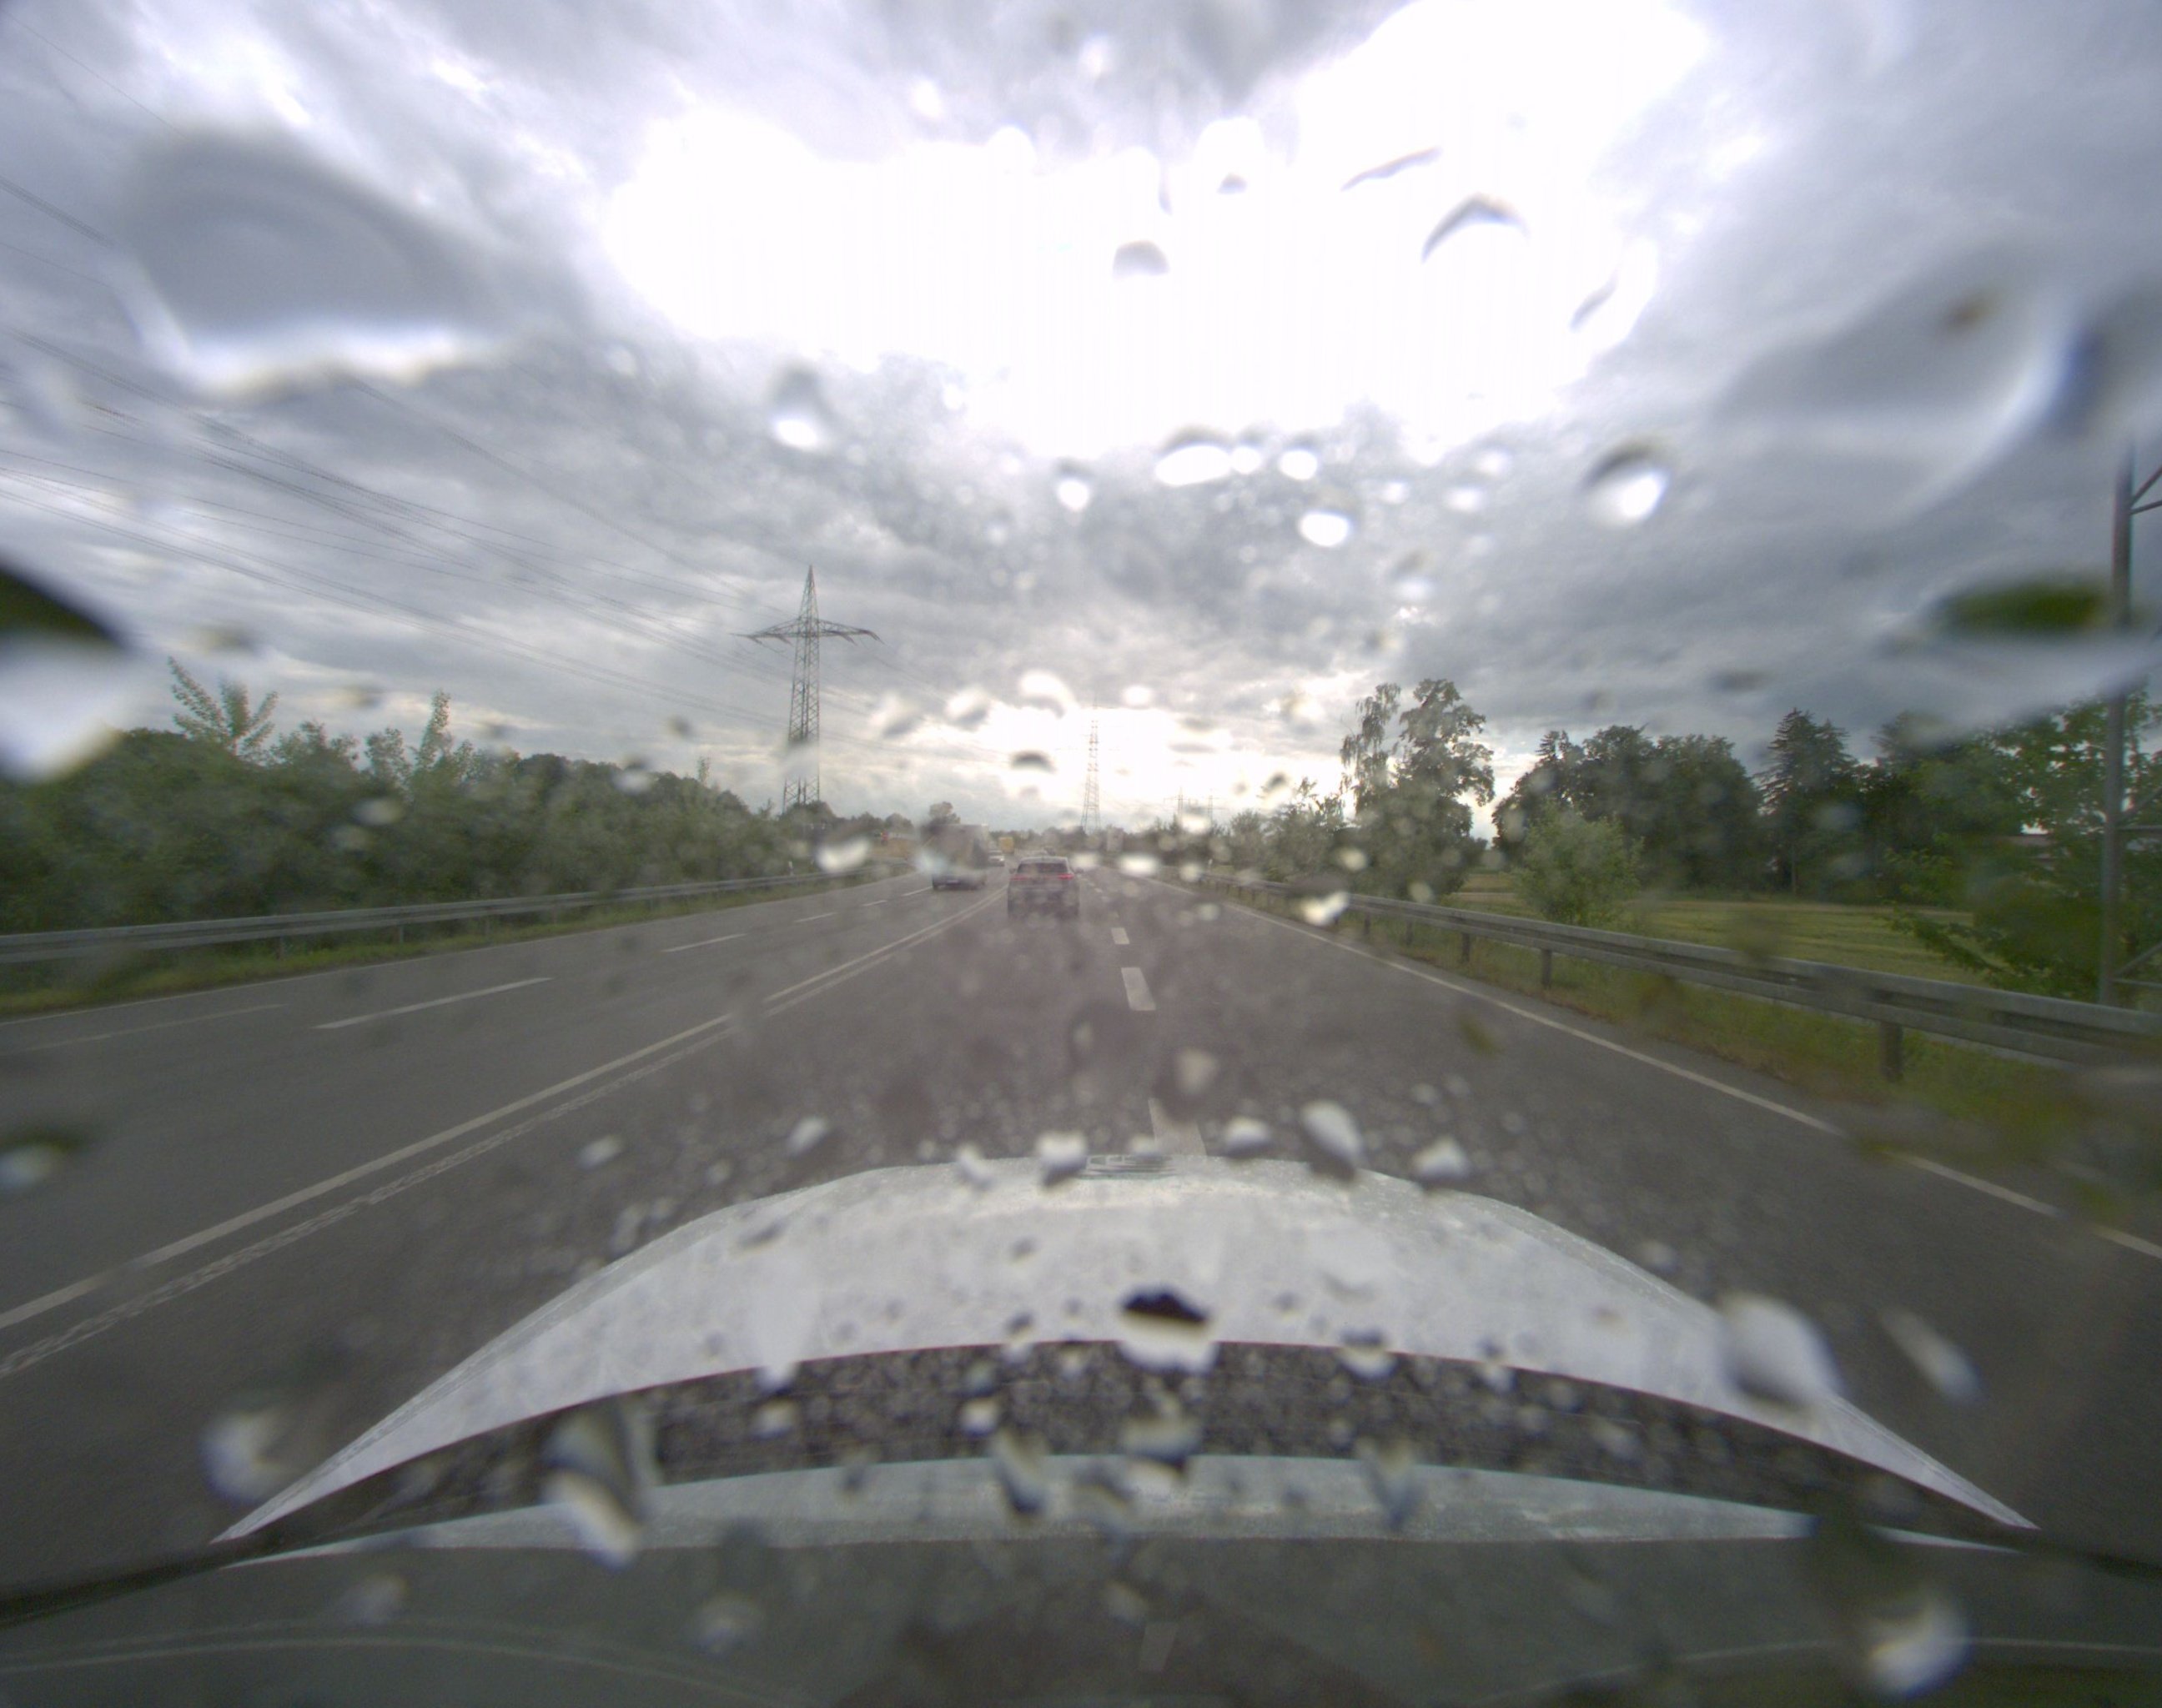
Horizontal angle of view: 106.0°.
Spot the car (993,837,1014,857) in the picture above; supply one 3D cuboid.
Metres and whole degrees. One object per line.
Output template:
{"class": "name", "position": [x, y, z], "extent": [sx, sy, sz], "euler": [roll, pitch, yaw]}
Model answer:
{"class": "car", "position": [-11.186, -1.004, 117.610], "extent": [2.572, 2.725, 7.174], "euler": [-2, 0, -9]}

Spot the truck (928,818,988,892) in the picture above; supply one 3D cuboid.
{"class": "truck", "position": [-5.664, 0.059, 38.353], "extent": [2.252, 3.156, 6.679], "euler": [-1, 0, -4]}

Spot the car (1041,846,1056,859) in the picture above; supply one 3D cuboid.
{"class": "car", "position": [-4.151, -0.141, 102.685], "extent": [1.787, 1.541, 3.995], "euler": [-1, 0, -3]}

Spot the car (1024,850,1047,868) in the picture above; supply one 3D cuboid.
{"class": "car", "position": [-3.827, 0.425, 68.791], "extent": [1.787, 1.441, 3.997], "euler": [0, 0, -2]}

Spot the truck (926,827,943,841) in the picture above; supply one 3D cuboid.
{"class": "truck", "position": [-37.423, -5.043, 207.731], "extent": [3.055, 3.384, 7.596], "euler": [0, 0, -19]}

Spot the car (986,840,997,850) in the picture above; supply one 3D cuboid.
{"class": "car", "position": [-15.430, -1.513, 140.372], "extent": [1.790, 1.687, 3.990], "euler": [-1, 1, -7]}

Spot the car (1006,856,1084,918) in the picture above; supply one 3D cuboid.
{"class": "car", "position": [-0.853, 0.811, 21.596], "extent": [1.785, 1.441, 4.000], "euler": [-2, -1, 1]}

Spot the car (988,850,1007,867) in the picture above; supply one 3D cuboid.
{"class": "car", "position": [-7.825, 0.358, 76.356], "extent": [1.677, 1.457, 4.068], "euler": [0, 1, -5]}
